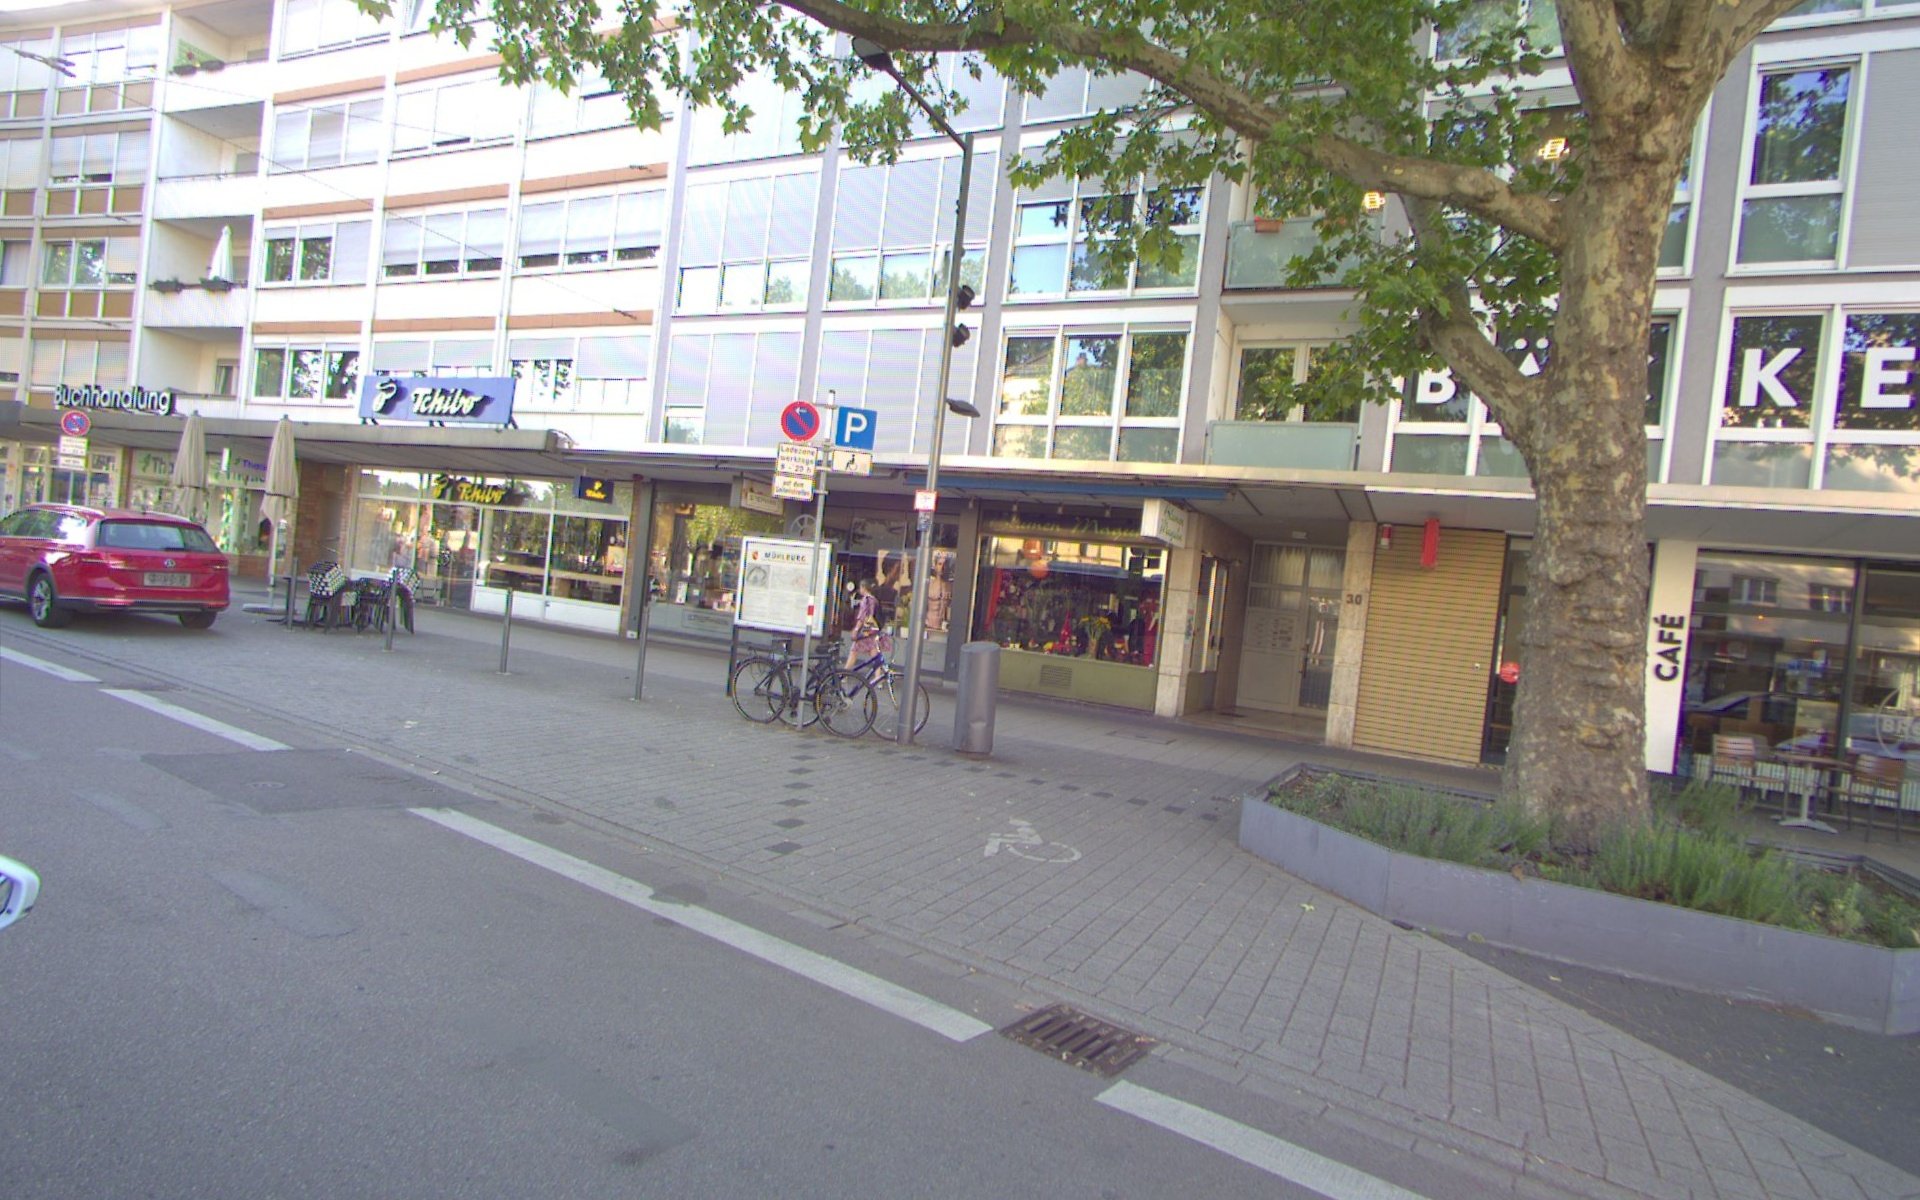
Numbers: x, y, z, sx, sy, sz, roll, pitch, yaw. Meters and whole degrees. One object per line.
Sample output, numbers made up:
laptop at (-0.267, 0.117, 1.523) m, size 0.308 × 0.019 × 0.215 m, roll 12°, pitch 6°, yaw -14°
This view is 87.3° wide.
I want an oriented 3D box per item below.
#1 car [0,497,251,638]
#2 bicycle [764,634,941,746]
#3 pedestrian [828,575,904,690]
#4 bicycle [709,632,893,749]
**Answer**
car at (-11.638, -0.490, 13.441) m, size 4.229 × 1.502 × 1.772 m, roll 6°, pitch 1°, yaw 28°
bicycle at (-1.129, 0.923, 10.554) m, size 1.743 × 0.931 × 0.391 m, roll 6°, pitch 2°, yaw 12°
pedestrian at (-1.402, 0.475, 15.039) m, size 0.776 × 1.613 × 0.651 m, roll 7°, pitch 3°, yaw 26°
bicycle at (-1.620, 0.903, 10.234) m, size 1.743 × 0.951 × 0.391 m, roll 6°, pitch 2°, yaw 12°
